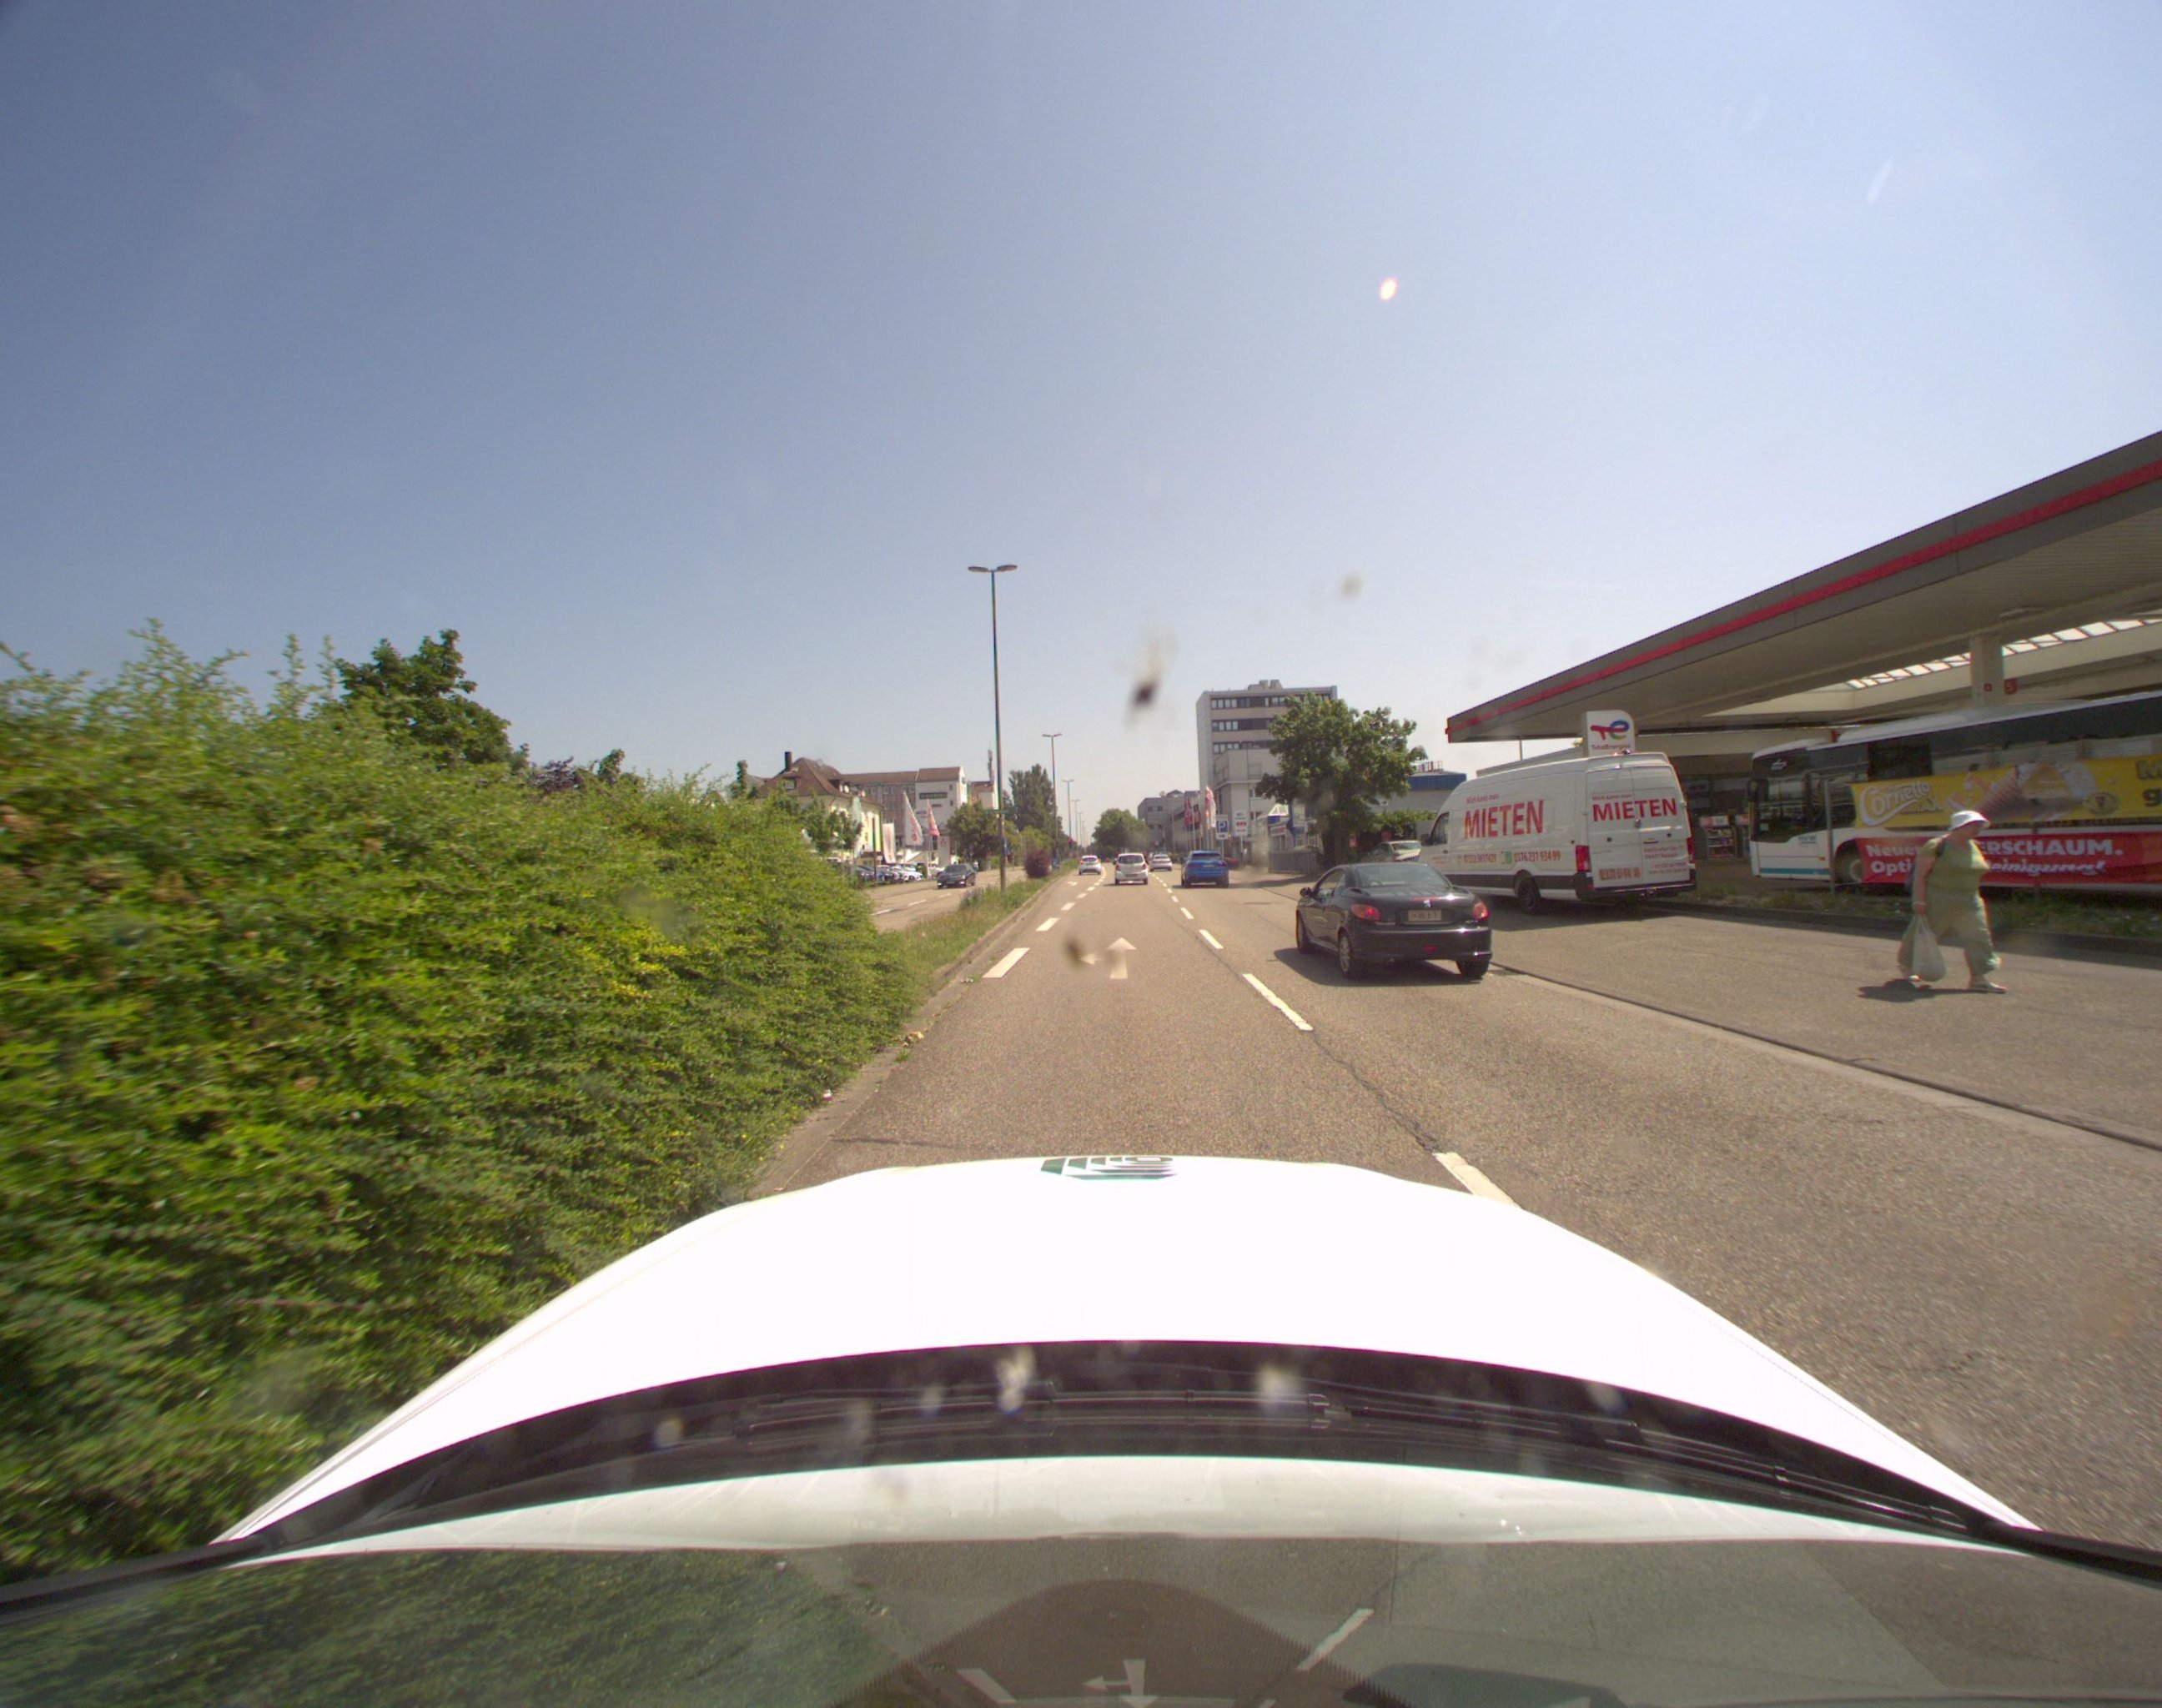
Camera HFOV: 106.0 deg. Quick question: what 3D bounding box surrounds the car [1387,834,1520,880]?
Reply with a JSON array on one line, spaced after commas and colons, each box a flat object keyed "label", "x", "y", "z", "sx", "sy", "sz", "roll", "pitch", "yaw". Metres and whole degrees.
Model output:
[{"label": "car", "x": 13.322, "y": 0.139, "z": 29.342, "sx": 3.965, "sy": 1.511, "sz": 1.749, "roll": -2, "pitch": -2, "yaw": 8}]

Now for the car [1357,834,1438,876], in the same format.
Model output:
[{"label": "car", "x": 12.918, "y": 0.085, "z": 33.498, "sx": 1.744, "sy": 1.511, "sz": 3.998, "roll": -1, "pitch": -2, "yaw": -1}]

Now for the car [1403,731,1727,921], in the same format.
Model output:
[{"label": "car", "x": 9.161, "y": -0.437, "z": 16.642, "sx": 2.126, "sy": 2.839, "sz": 7.310, "roll": -5, "pitch": 0, "yaw": 1}]

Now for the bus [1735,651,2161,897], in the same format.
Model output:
[{"label": "bus", "x": 15.025, "y": -1.064, "z": 11.274, "sx": 2.792, "sy": 3.078, "sz": 12.300, "roll": -2, "pitch": 1, "yaw": 4}]

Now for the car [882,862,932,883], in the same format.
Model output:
[{"label": "car", "x": -15.583, "y": 1.648, "z": 72.940, "sx": 4.006, "sy": 1.731, "sz": 1.892, "roll": 0, "pitch": -3, "yaw": -25}]

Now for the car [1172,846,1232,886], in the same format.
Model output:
[{"label": "car", "x": 5.226, "y": 0.457, "z": 35.597, "sx": 1.907, "sy": 1.597, "sz": 4.394, "roll": -1, "pitch": 1, "yaw": -1}]

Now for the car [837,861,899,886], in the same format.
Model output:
[{"label": "car", "x": -15.444, "y": 1.433, "z": 59.253, "sx": 3.976, "sy": 1.664, "sz": 1.887, "roll": -1, "pitch": -2, "yaw": -2}]

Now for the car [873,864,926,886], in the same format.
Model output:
[{"label": "car", "x": -15.187, "y": 1.760, "z": 68.172, "sx": 3.976, "sy": 1.684, "sz": 1.998, "roll": -1, "pitch": -2, "yaw": -2}]

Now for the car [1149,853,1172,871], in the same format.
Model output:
[{"label": "car", "x": 6.778, "y": 0.669, "z": 69.472, "sx": 1.661, "sy": 1.399, "sz": 3.794, "roll": -2, "pitch": 0, "yaw": 2}]

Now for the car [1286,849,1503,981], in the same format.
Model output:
[{"label": "car", "x": 3.930, "y": 0.680, "z": 10.848, "sx": 1.593, "sy": 1.425, "sz": 3.663, "roll": -2, "pitch": 0, "yaw": 2}]

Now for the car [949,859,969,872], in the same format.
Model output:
[{"label": "car", "x": -14.042, "y": 1.380, "z": 93.710, "sx": 1.898, "sy": 1.354, "sz": 3.993, "roll": -1, "pitch": -2, "yaw": -4}]

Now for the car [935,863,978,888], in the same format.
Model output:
[{"label": "car", "x": -7.795, "y": 1.317, "z": 51.248, "sx": 1.891, "sy": 1.387, "sz": 4.068, "roll": -4, "pitch": 0, "yaw": 1}]

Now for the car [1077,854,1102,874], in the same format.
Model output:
[{"label": "car", "x": 0.696, "y": 0.780, "z": 63.183, "sx": 1.823, "sy": 1.450, "sz": 4.002, "roll": -2, "pitch": -2, "yaw": 2}]

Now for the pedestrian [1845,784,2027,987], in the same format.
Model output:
[{"label": "pedestrian", "x": 7.819, "y": 0.282, "z": 7.490, "sx": 0.812, "sy": 1.749, "sz": 0.703, "roll": -2, "pitch": -2, "yaw": 0}]

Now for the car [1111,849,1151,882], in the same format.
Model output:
[{"label": "car", "x": 2.432, "y": 0.570, "z": 40.208, "sx": 1.707, "sy": 1.511, "sz": 3.245, "roll": -1, "pitch": -1, "yaw": -1}]

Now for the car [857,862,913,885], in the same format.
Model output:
[{"label": "car", "x": -15.646, "y": 1.549, "z": 65.223, "sx": 3.976, "sy": 1.728, "sz": 1.935, "roll": -1, "pitch": -2, "yaw": -2}]

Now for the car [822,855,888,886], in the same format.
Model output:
[{"label": "car", "x": -15.688, "y": 1.164, "z": 56.641, "sx": 3.976, "sy": 2.014, "sz": 1.998, "roll": -1, "pitch": -2, "yaw": -2}]

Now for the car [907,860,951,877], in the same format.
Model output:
[{"label": "car", "x": -15.160, "y": 1.417, "z": 81.548, "sx": 3.970, "sy": 1.552, "sz": 1.867, "roll": -2, "pitch": -2, "yaw": 3}]

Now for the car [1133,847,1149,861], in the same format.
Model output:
[{"label": "car", "x": 8.029, "y": -0.041, "z": 109.923, "sx": 1.790, "sy": 1.729, "sz": 3.970, "roll": -1, "pitch": -2, "yaw": -1}]
